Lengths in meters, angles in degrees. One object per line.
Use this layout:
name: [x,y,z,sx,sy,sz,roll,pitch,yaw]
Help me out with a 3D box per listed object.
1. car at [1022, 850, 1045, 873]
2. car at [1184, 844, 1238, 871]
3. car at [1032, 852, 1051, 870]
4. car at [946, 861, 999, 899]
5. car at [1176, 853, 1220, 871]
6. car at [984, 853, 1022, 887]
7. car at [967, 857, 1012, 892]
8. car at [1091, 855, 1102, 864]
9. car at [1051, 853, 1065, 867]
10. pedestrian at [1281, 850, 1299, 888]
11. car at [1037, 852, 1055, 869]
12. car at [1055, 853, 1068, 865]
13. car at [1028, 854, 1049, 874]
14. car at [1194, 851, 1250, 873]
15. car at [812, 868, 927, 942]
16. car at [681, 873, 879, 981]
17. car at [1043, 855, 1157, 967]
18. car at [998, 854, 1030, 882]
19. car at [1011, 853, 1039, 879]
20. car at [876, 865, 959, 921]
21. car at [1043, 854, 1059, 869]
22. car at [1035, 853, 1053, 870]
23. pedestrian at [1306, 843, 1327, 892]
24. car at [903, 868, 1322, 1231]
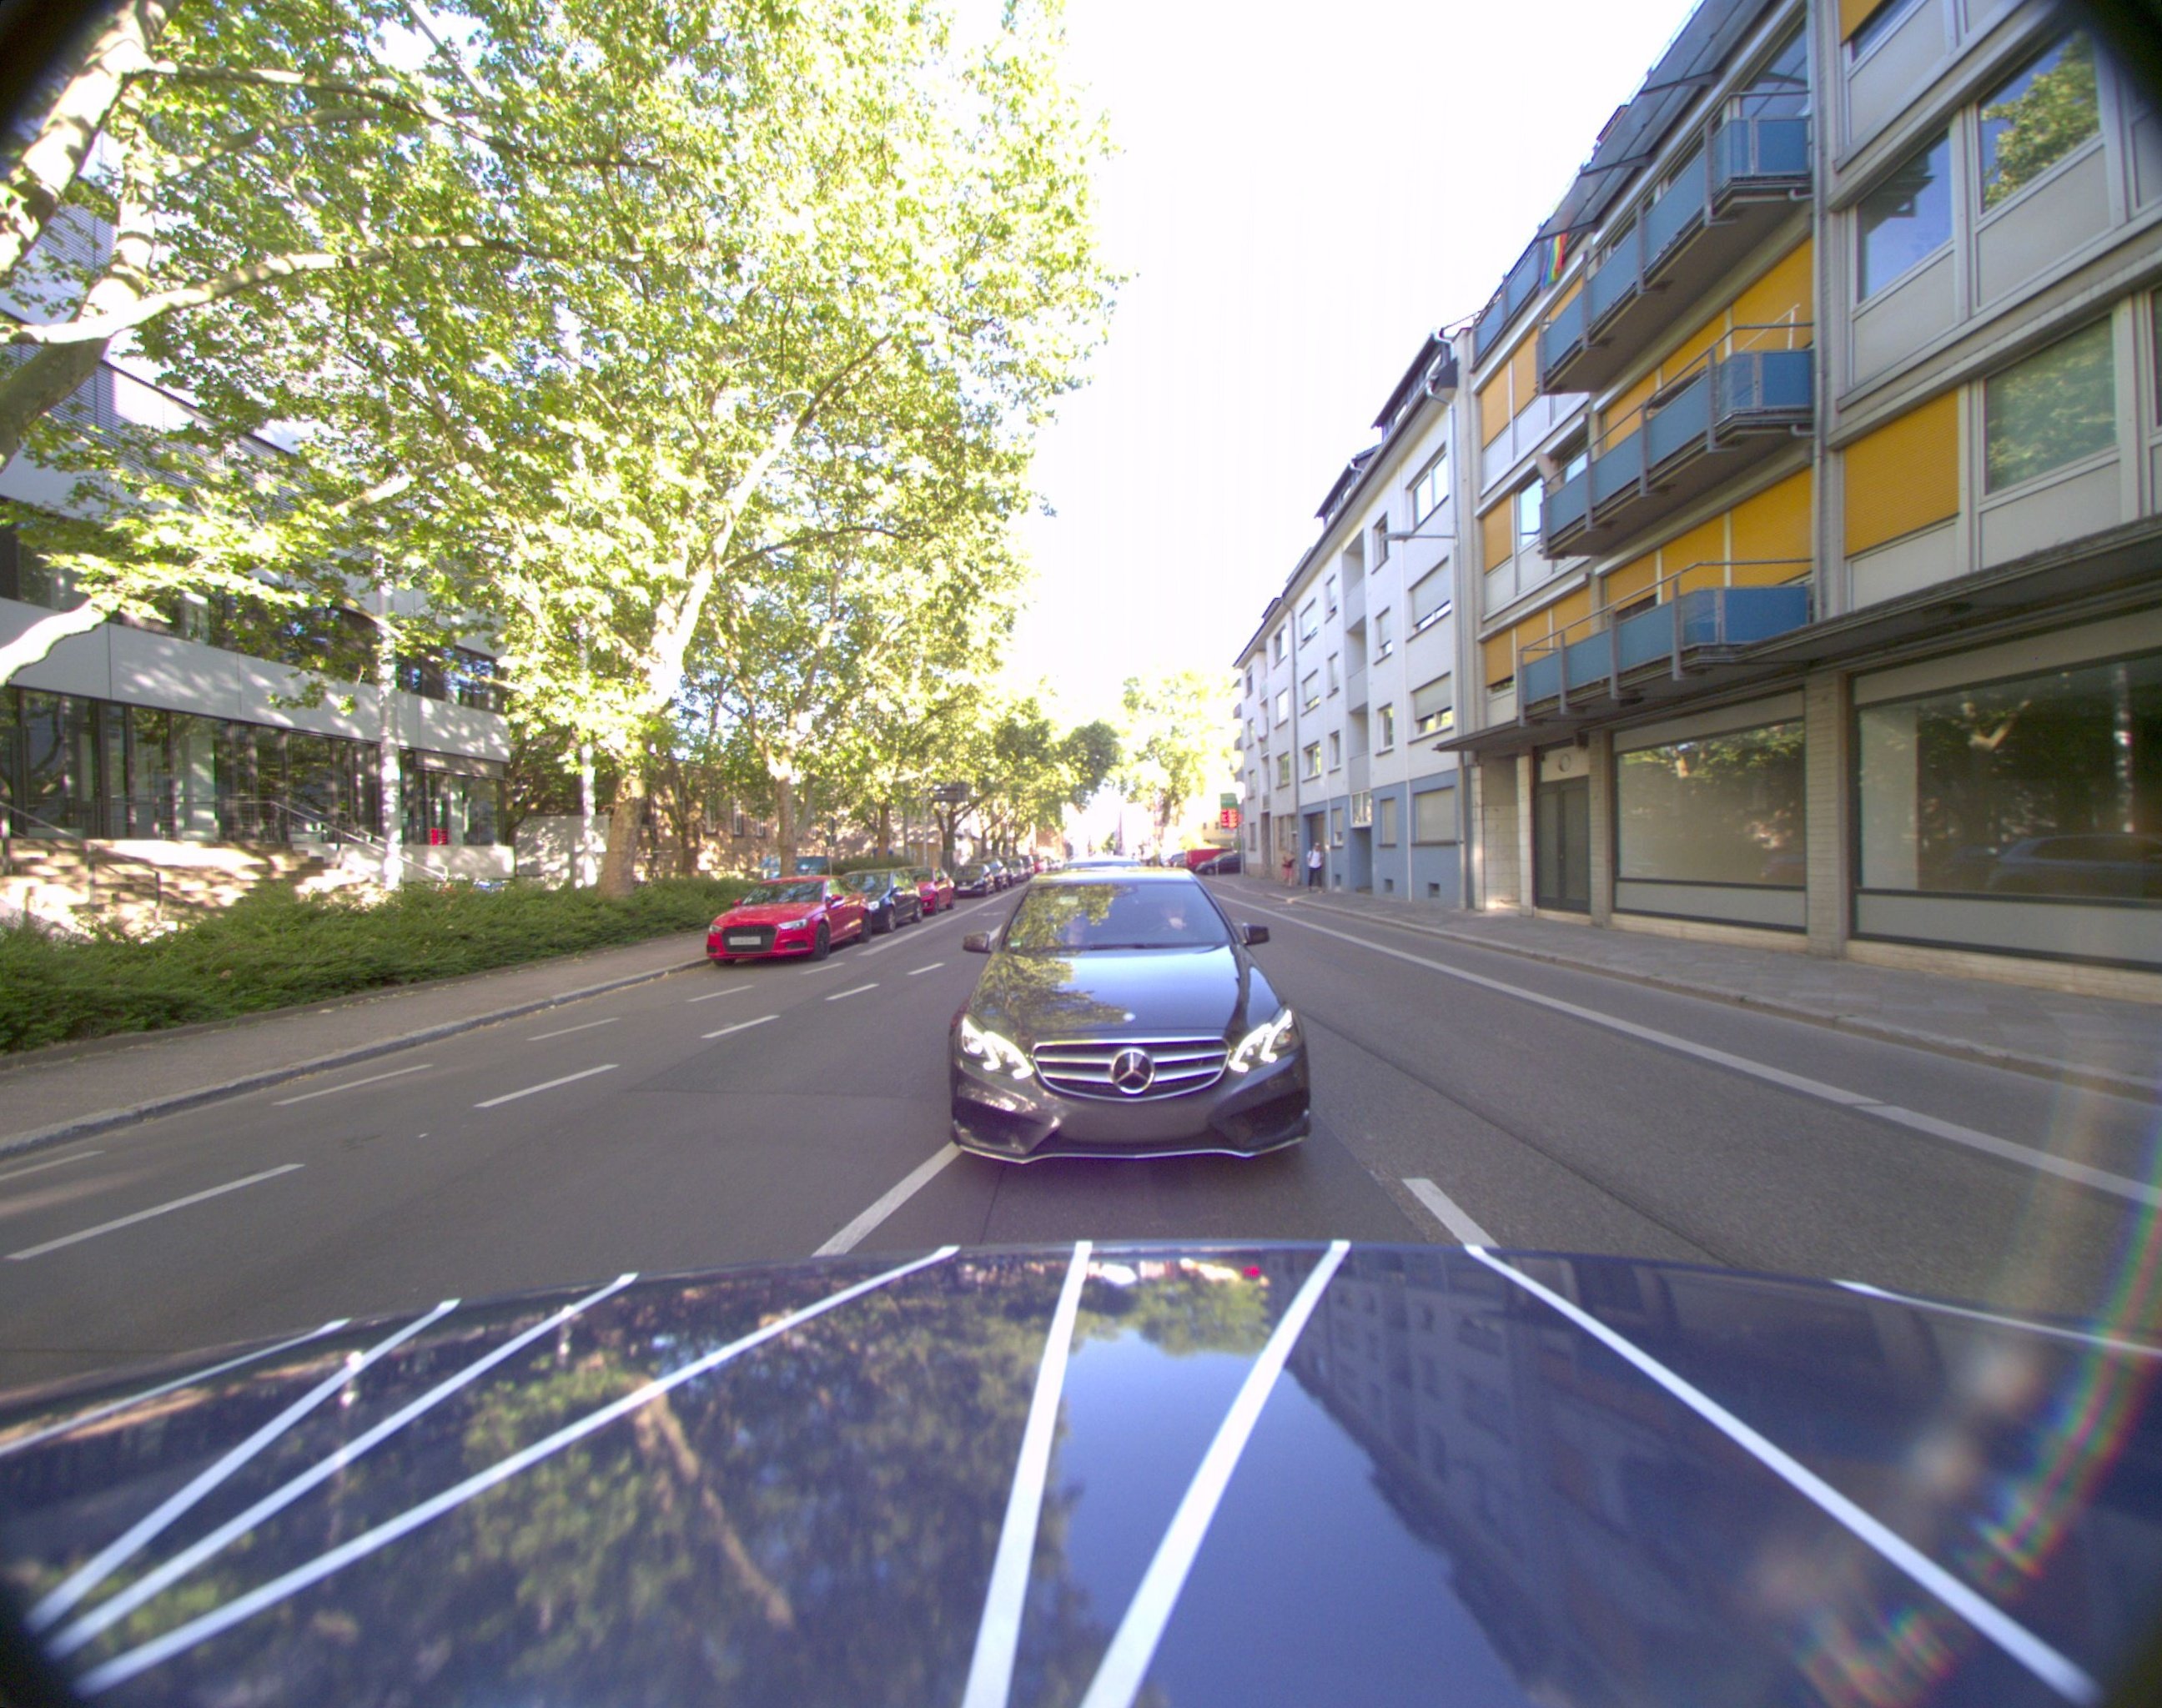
car: [-4.131,0.646,66.077,1.635,1.878,3.673,-3,0,1]
car: [10.224,0.267,59.967,3.927,1.912,1.636,-3,0,1]
car: [-4.022,0.730,78.188,1.635,1.713,3.673,-3,0,1]
car: [-4.687,1.098,33.230,1.635,1.455,3.740,-3,0,1]
car: [9.623,0.642,62.654,3.325,1.241,1.295,-3,0,1]
car: [-4.489,0.879,44.137,1.635,1.795,3.845,-3,0,1]
car: [-4.529,0.975,38.052,1.635,1.578,3.845,-3,0,1]
car: [2.718,0.918,131.986,1.853,1.455,4.099,-3,0,1]
car: [-3.040,0.799,102.786,1.635,1.713,3.673,-3,0,1]
pedestrian: [8.685,0.617,31.585,0.569,1.509,0.343,-3,1,1]
car: [-3.949,0.724,86.075,1.635,1.713,3.673,-3,0,1]
car: [-2.747,0.724,109.780,1.635,1.713,3.673,-3,0,1]
car: [-3.923,0.882,71.150,1.635,1.713,3.673,-3,0,1]
car: [10.104,0.564,54.723,3.670,1.403,1.636,-3,0,1]
car: [-5.020,1.150,18.516,1.635,1.455,3.740,-3,0,1]
car: [-5.140,1.165,13.675,1.804,1.455,4.125,-3,0,1]
car: [0.325,0.882,13.785,1.680,1.622,4.125,-3,0,1]
car: [-4.420,0.902,50.671,1.635,1.644,3.845,-3,0,1]
car: [-4.072,0.834,55.540,1.635,1.799,3.673,-3,0,1]
car: [-4.996,1.148,23.677,1.635,1.455,3.740,-3,0,1]
car: [-3.639,0.934,92.477,1.635,1.713,3.673,-3,0,1]
car: [-3.935,0.766,82.064,1.635,1.713,3.673,-3,0,1]
pedestrian: [8.453,0.491,27.255,0.569,1.716,0.343,-3,1,1]
car: [0.169,0.920,5.468,1.804,1.455,4.125,-3,0,1]
